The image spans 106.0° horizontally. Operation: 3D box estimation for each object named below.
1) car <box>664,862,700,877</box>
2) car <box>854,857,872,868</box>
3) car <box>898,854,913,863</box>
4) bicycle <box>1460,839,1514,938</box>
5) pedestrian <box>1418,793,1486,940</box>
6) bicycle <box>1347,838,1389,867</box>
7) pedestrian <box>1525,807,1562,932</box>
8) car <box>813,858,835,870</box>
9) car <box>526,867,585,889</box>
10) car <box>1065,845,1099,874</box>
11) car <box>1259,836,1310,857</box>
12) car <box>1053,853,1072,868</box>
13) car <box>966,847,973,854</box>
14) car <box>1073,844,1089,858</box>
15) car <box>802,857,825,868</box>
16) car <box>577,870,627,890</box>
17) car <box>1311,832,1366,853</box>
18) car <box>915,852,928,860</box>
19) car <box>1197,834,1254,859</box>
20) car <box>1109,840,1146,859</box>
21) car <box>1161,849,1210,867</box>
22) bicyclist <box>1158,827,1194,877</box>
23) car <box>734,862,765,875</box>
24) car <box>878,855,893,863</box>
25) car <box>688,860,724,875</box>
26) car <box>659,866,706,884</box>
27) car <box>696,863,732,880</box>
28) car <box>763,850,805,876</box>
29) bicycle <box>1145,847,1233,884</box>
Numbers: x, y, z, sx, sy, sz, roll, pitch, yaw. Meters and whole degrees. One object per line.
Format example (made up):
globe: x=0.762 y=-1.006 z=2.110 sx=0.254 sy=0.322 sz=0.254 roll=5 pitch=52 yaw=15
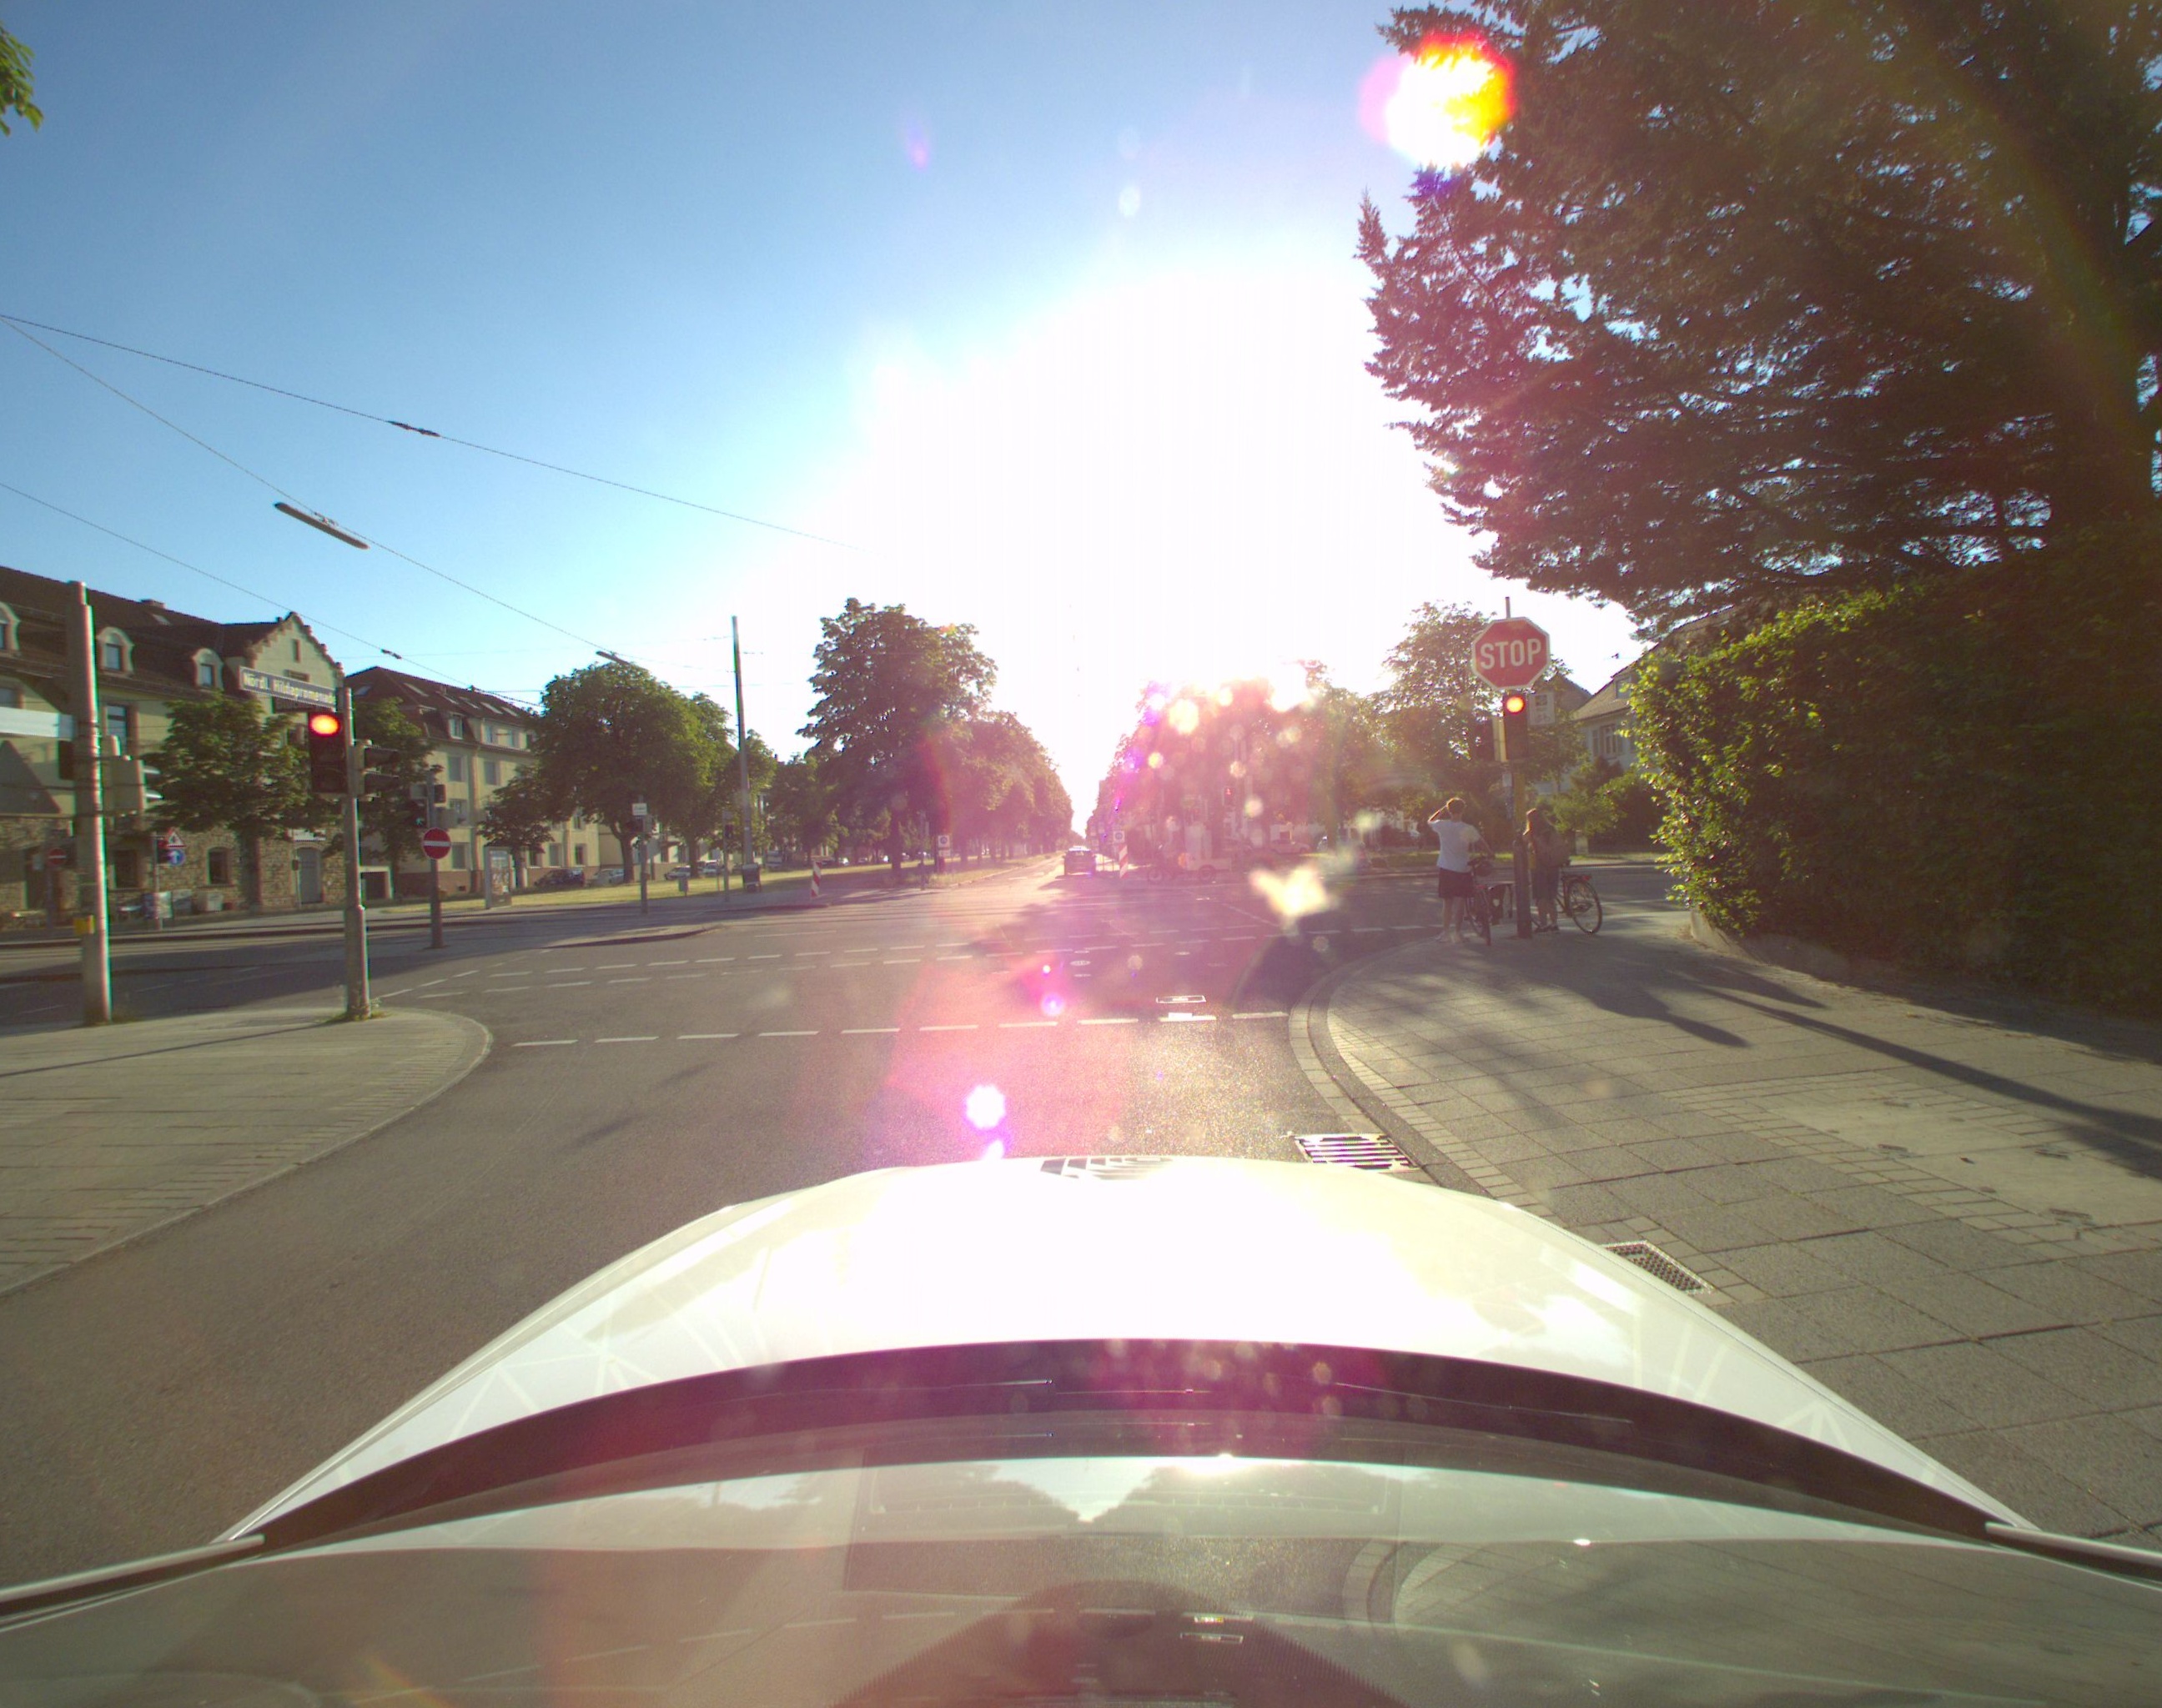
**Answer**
car: x=-42.848 y=1.648 z=87.547 sx=1.709 sy=1.633 sz=4.192 roll=0 pitch=-1 yaw=2
car: x=-36.924 y=1.396 z=137.923 sx=1.805 sy=1.781 sz=4.123 roll=0 pitch=-1 yaw=1
car: x=-36.329 y=0.927 z=168.674 sx=2.016 sy=1.659 sz=3.984 roll=0 pitch=-1 yaw=1
bicycle: x=5.300 y=0.396 z=10.649 sx=0.567 sy=1.184 sz=1.917 roll=0 pitch=1 yaw=26
pedestrian: x=4.992 y=0.160 z=11.003 sx=0.622 sy=1.866 sz=0.778 roll=-6 pitch=-1 yaw=20
bicycle: x=11.523 y=-0.062 z=32.684 sx=1.513 sy=1.089 sz=0.469 roll=-2 pitch=3 yaw=9
pedestrian: x=5.981 y=0.197 z=10.553 sx=0.346 sy=1.585 sz=0.465 roll=-1 pitch=-1 yaw=23
car: x=-37.116 y=1.378 z=117.734 sx=1.873 sy=1.674 sz=4.315 roll=0 pitch=0 yaw=1
car: x=-43.317 y=1.958 z=67.265 sx=1.986 sy=1.736 sz=4.313 roll=0 pitch=-1 yaw=2
car: x=0.095 y=0.322 z=44.789 sx=1.719 sy=1.511 sz=4.542 roll=0 pitch=0 yaw=2
car: x=16.277 y=-0.600 z=65.167 sx=3.548 sy=1.516 sz=1.602 roll=-2 pitch=0 yaw=-6
car: x=-1.734 y=0.639 z=78.464 sx=1.704 sy=1.359 sz=4.202 roll=0 pitch=0 yaw=0
car: x=-34.965 y=-1.090 z=255.180 sx=1.649 sy=1.938 sz=3.566 roll=0 pitch=-2 yaw=-1
car: x=-0.042 y=-0.422 z=103.955 sx=1.987 sy=1.781 sz=3.999 roll=0 pitch=1 yaw=-1
car: x=-42.037 y=1.322 z=127.954 sx=1.986 sy=1.659 sz=4.376 roll=0 pitch=-1 yaw=2
car: x=-43.114 y=2.298 z=73.425 sx=1.986 sy=1.659 sz=4.001 roll=0 pitch=-1 yaw=2
car: x=20.739 y=-0.912 z=65.628 sx=3.915 sy=1.524 sz=1.521 roll=-1 pitch=-1 yaw=-5
car: x=-36.918 y=0.368 z=188.252 sx=1.987 sy=1.658 sz=4.570 roll=-2 pitch=0 yaw=0
car: x=11.568 y=-0.608 z=65.431 sx=4.228 sy=1.875 sz=2.030 roll=-2 pitch=-1 yaw=-1
car: x=5.335 y=-0.515 z=93.701 sx=3.980 sy=1.822 sz=1.757 roll=-3 pitch=-5 yaw=-5
car: x=8.996 y=0.340 z=70.565 sx=3.975 sy=1.447 sz=1.715 roll=-2 pitch=-1 yaw=-1
bicyclist: x=3.461 y=-0.070 z=29.538 sx=1.138 sy=1.723 sz=0.877 roll=-3 pitch=-1 yaw=9
car: x=-42.215 y=1.820 z=103.935 sx=1.986 sy=1.659 sz=4.572 roll=0 pitch=-1 yaw=2
car: x=-41.746 y=0.982 z=173.954 sx=1.986 sy=1.659 sz=4.357 roll=0 pitch=-1 yaw=2
car: x=-43.416 y=1.579 z=94.458 sx=1.986 sy=1.659 sz=4.572 roll=0 pitch=-1 yaw=2
car: x=-37.467 y=1.946 z=76.718 sx=1.986 sy=1.659 sz=4.572 roll=0 pitch=-1 yaw=2
car: x=-37.229 y=1.729 z=82.713 sx=1.791 sy=1.554 sz=4.417 roll=0 pitch=1 yaw=-2
car: x=-37.170 y=1.075 z=102.227 sx=2.384 sy=3.131 sz=7.853 roll=0 pitch=0 yaw=0
bicycle: x=3.913 y=0.430 z=29.463 sx=3.055 sy=1.161 sz=0.877 roll=-3 pitch=-1 yaw=9
